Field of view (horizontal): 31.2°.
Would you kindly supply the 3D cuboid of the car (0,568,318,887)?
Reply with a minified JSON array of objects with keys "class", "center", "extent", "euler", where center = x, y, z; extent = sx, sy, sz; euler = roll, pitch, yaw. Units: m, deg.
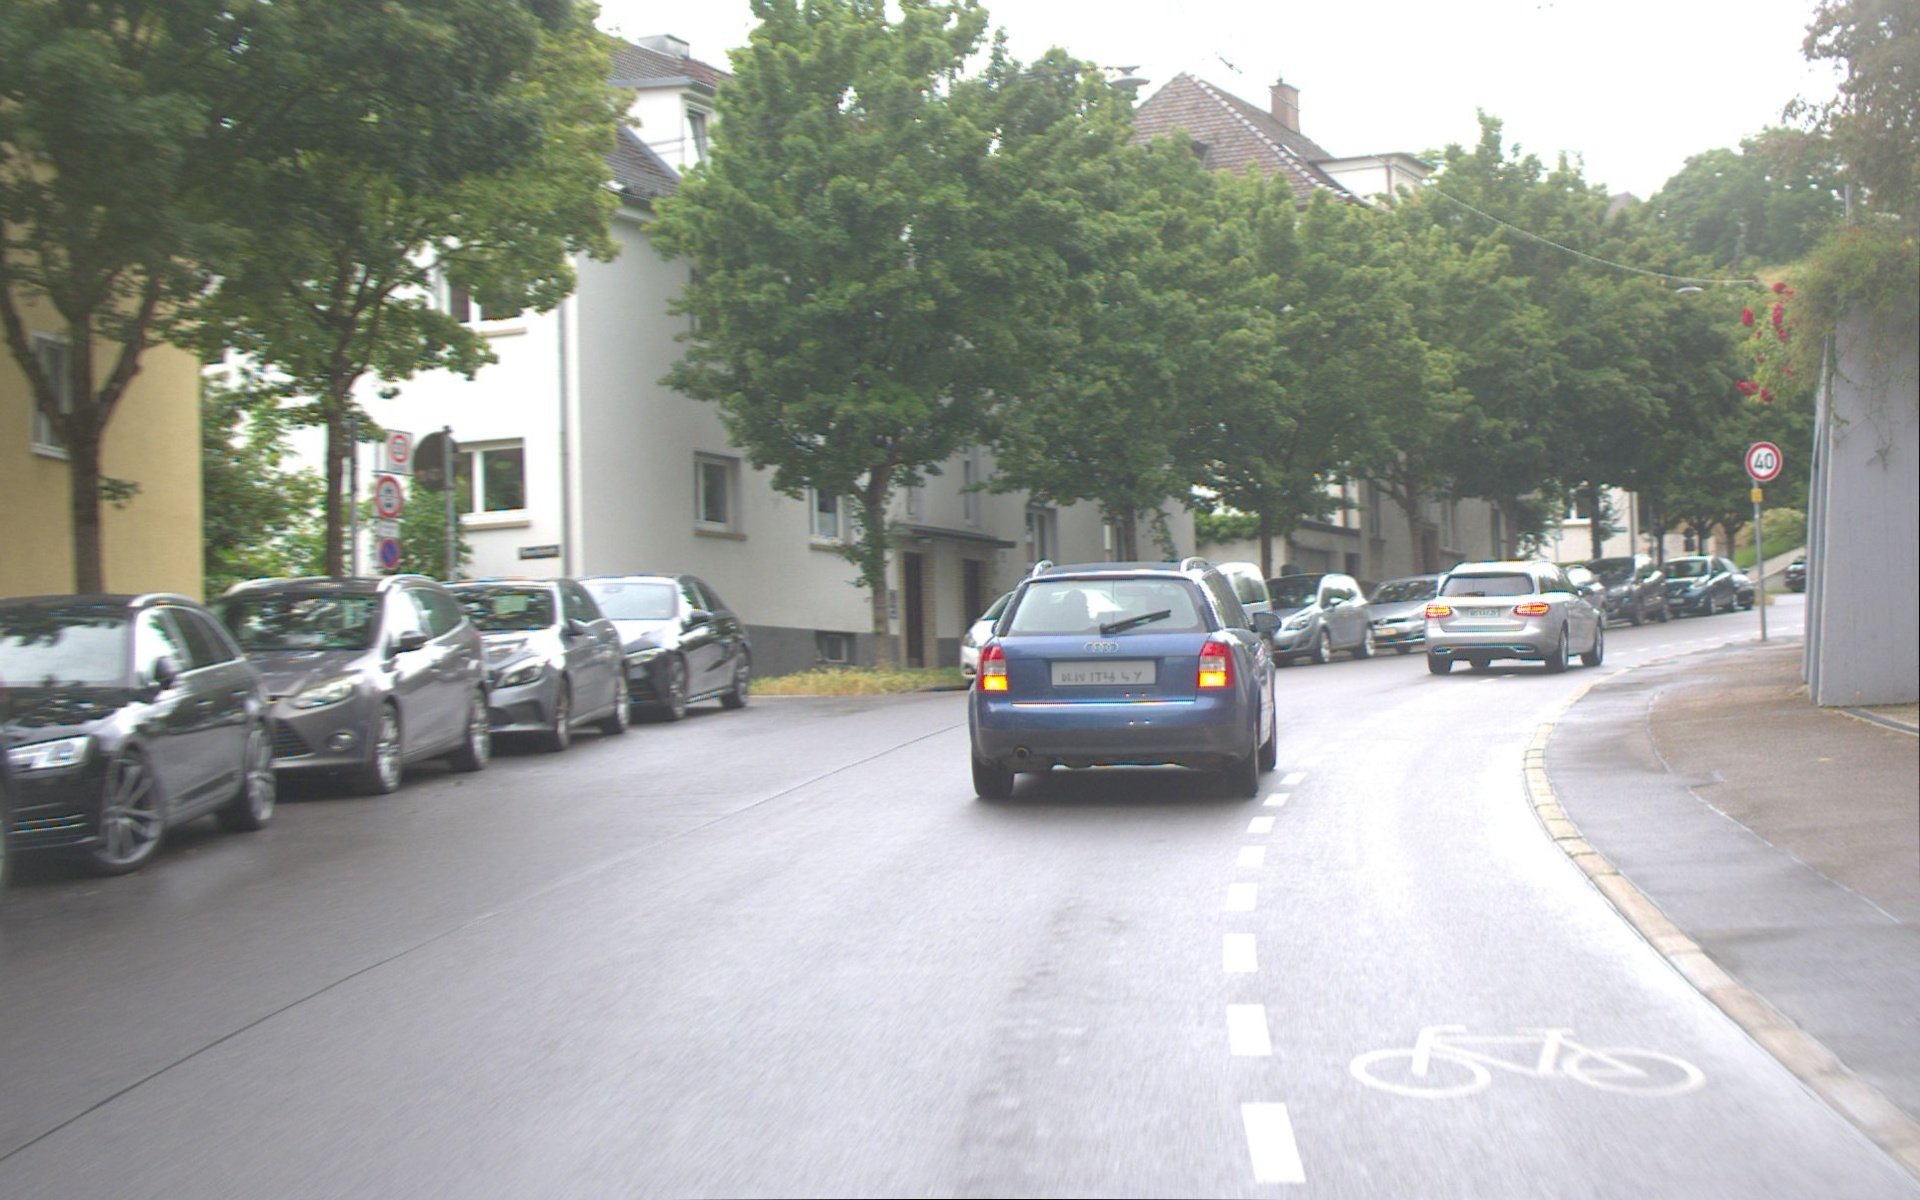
[{"class":"car","center":[-4.935,0.592,18.750],"extent":[1.854,1.493,4.740],"euler":[0,1,2]}]

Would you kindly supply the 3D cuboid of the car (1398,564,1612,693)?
[{"class":"car","center":[7.332,0.341,45.908],"extent":[1.952,1.556,4.258],"euler":[1,2,21]}]

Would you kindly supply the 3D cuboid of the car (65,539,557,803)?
[{"class":"car","center":[-4.454,0.439,24.371],"extent":[1.855,1.684,4.553],"euler":[-1,1,11]}]

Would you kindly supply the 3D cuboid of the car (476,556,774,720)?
[{"class":"car","center":[-3.279,0.346,34.556],"extent":[1.776,1.535,4.515],"euler":[0,0,11]}]

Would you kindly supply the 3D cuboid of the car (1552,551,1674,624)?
[{"class":"car","center":[15.337,-0.300,80.592],"extent":[1.807,1.621,4.134],"euler":[-2,0,25]}]

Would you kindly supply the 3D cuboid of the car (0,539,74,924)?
[{"class":"car","center":[-5.223,0.601,13.561],"extent":[1.854,1.662,4.587],"euler":[-1,0,6]}]

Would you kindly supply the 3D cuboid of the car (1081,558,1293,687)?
[{"class":"car","center":[3.736,0.372,55.761],"extent":[1.916,1.994,4.542],"euler":[-1,-1,24]}]

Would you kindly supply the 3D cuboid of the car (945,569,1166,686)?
[{"class":"car","center":[1.452,0.417,50.266],"extent":[1.786,1.509,4.341],"euler":[-5,-2,21]}]

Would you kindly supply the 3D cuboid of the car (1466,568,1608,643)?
[{"class":"car","center":[12.534,0.127,74.499],"extent":[1.807,1.547,4.793],"euler":[-1,-1,25]}]

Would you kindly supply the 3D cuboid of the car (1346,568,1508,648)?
[{"class":"car","center":[8.912,0.171,65.253],"extent":[1.807,1.448,4.591],"euler":[-1,-1,24]}]

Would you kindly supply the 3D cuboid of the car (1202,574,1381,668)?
[{"class":"car","center":[5.851,0.372,60.281],"extent":[1.807,1.481,4.230],"euler":[-5,-2,23]}]

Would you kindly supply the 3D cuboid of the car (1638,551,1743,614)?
[{"class":"car","center":[18.625,-0.446,87.504],"extent":[1.715,1.457,3.876],"euler":[-1,2,26]}]

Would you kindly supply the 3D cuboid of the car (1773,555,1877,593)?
[{"class":"car","center":[37.521,-1.129,149.124],"extent":[4.168,1.503,1.741],"euler":[-2,0,-25]}]

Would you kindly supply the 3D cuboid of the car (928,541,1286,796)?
[{"class":"car","center":[1.049,0.377,22.062],"extent":[1.854,1.409,4.360],"euler":[-2,0,8]}]

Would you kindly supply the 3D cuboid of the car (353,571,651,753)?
[{"class":"car","center":[-3.819,0.477,29.330],"extent":[1.614,1.392,4.322],"euler":[-1,1,5]}]
